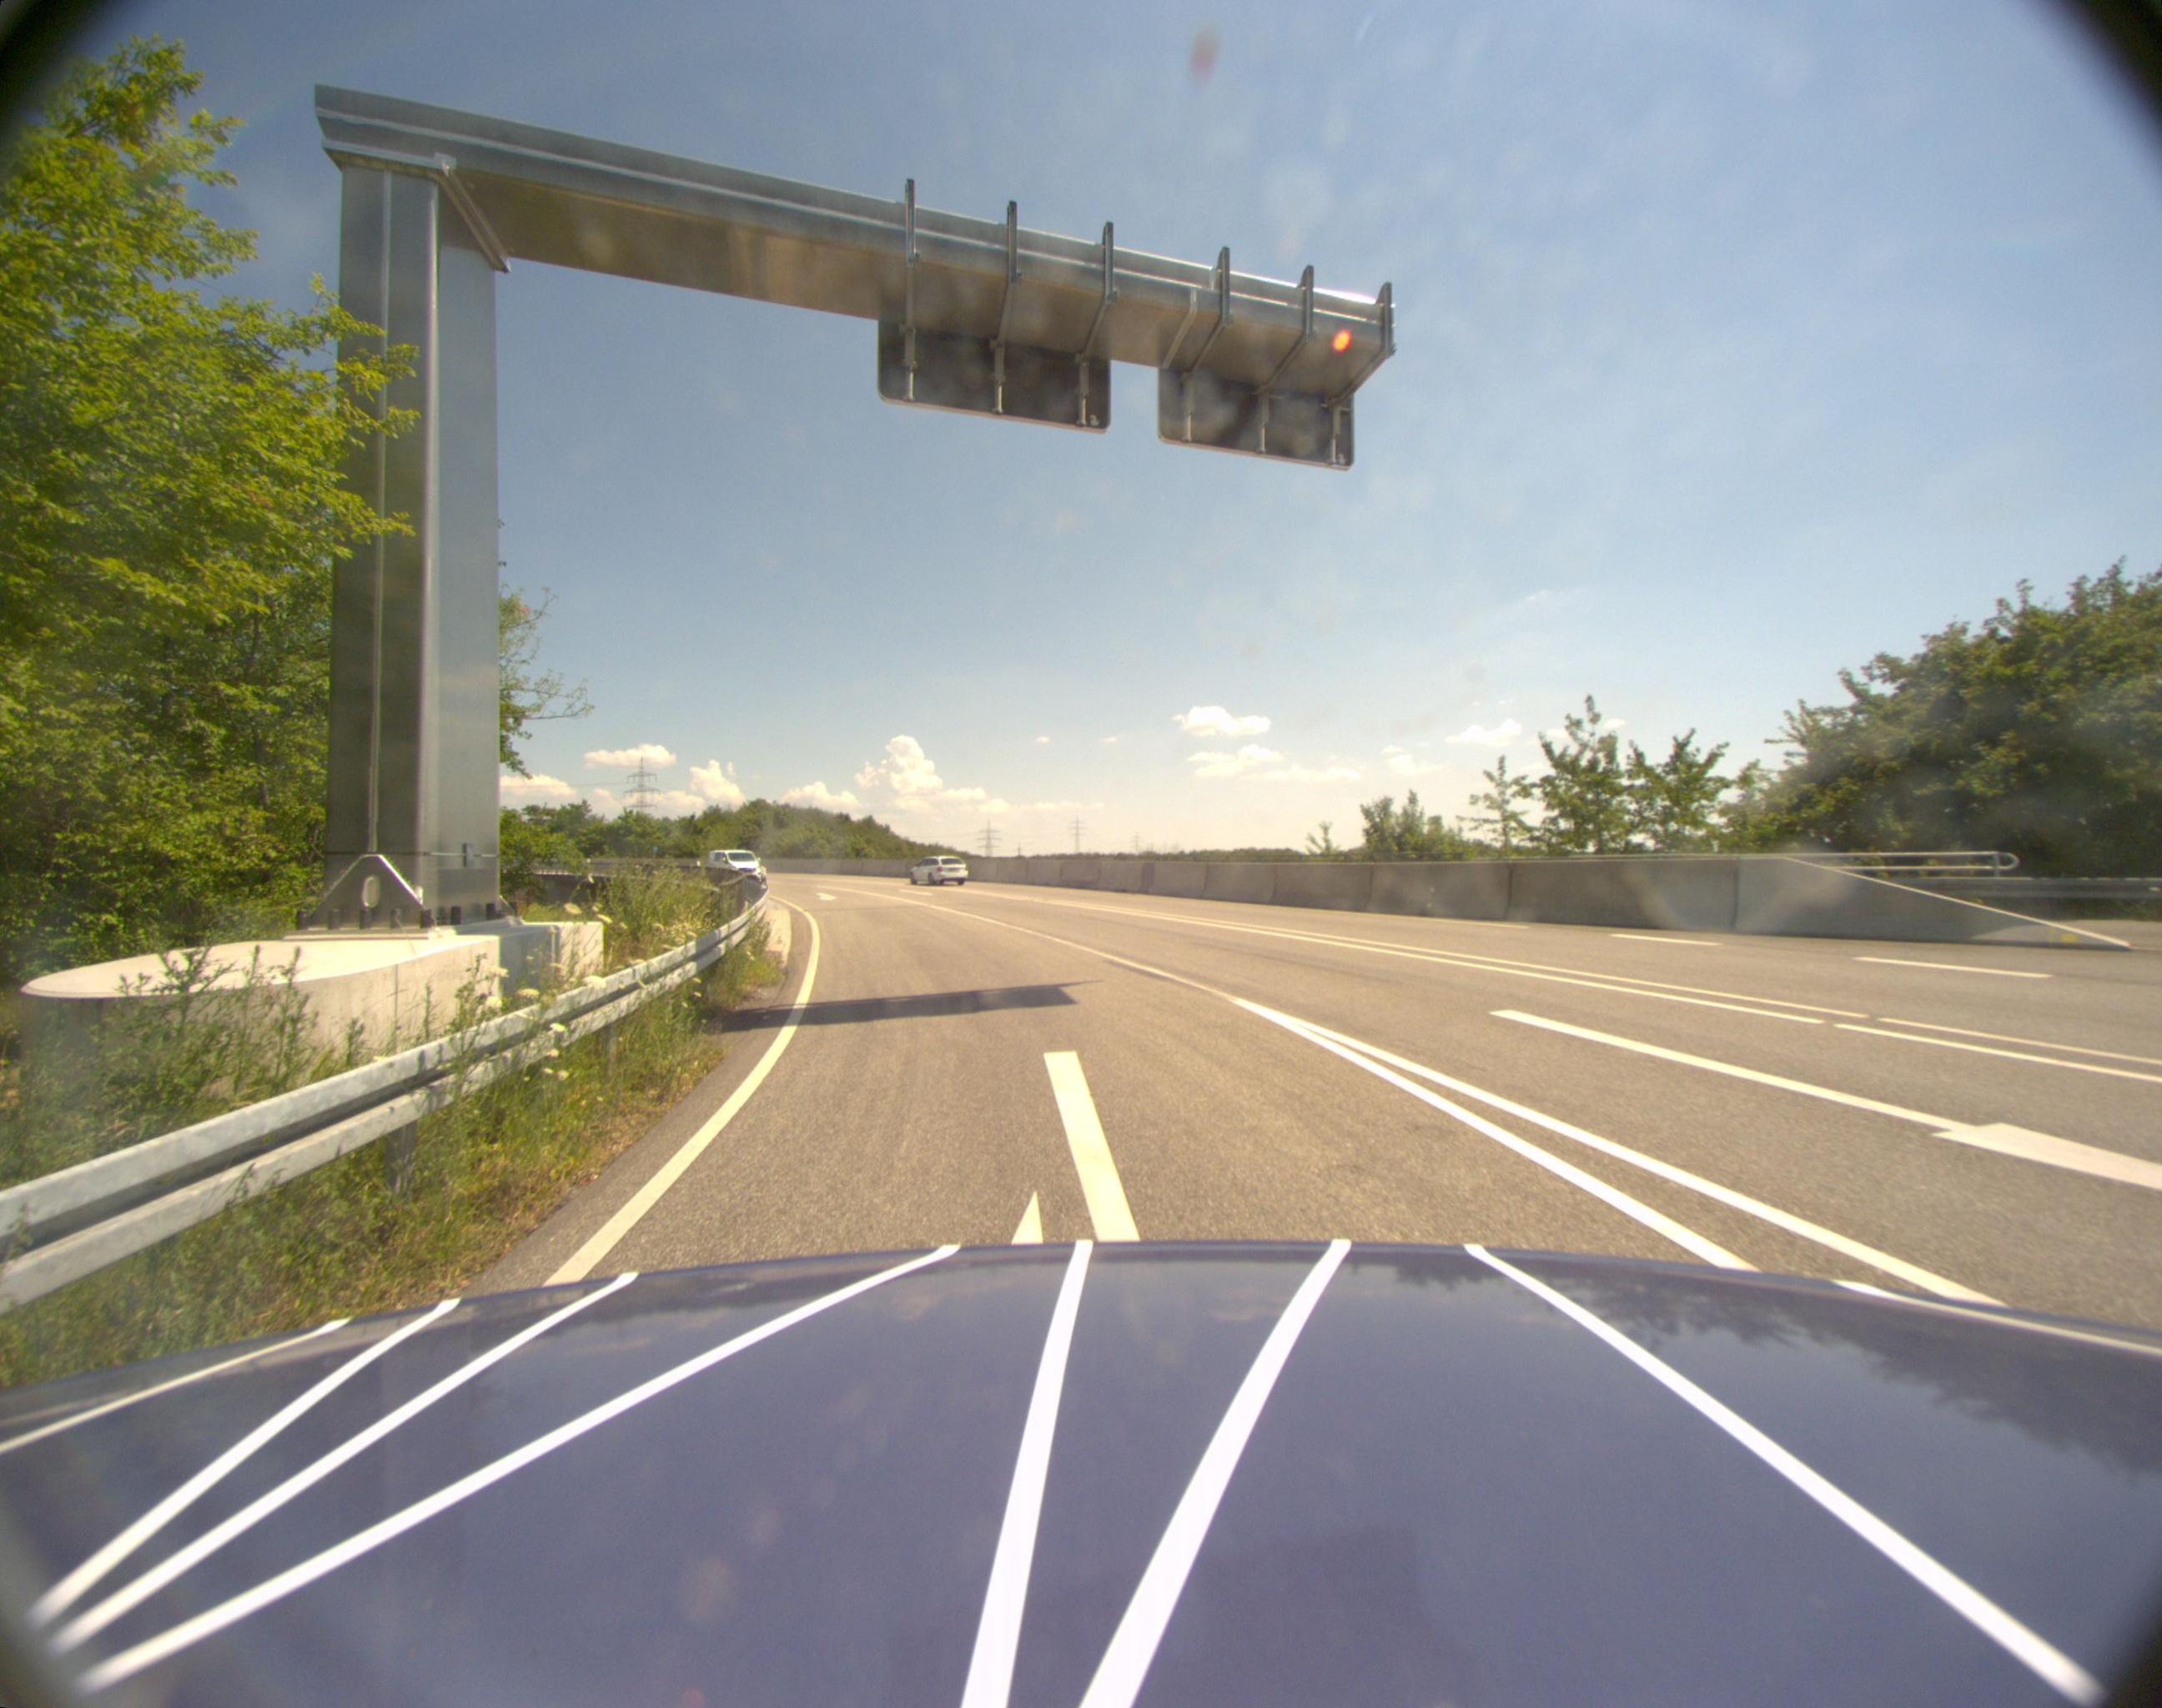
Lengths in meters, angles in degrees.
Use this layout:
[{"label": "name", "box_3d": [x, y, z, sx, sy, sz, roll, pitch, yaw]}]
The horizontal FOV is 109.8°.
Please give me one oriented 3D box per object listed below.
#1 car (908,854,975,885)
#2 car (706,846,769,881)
[{"label": "car", "box_3d": [-7.242, 0.742, 39.128, 1.796, 1.486, 4.540, 0, 0, -33]}, {"label": "car", "box_3d": [-21.902, 0.592, 48.309, 2.036, 2.072, 5.856, -1, 0, -41]}]
